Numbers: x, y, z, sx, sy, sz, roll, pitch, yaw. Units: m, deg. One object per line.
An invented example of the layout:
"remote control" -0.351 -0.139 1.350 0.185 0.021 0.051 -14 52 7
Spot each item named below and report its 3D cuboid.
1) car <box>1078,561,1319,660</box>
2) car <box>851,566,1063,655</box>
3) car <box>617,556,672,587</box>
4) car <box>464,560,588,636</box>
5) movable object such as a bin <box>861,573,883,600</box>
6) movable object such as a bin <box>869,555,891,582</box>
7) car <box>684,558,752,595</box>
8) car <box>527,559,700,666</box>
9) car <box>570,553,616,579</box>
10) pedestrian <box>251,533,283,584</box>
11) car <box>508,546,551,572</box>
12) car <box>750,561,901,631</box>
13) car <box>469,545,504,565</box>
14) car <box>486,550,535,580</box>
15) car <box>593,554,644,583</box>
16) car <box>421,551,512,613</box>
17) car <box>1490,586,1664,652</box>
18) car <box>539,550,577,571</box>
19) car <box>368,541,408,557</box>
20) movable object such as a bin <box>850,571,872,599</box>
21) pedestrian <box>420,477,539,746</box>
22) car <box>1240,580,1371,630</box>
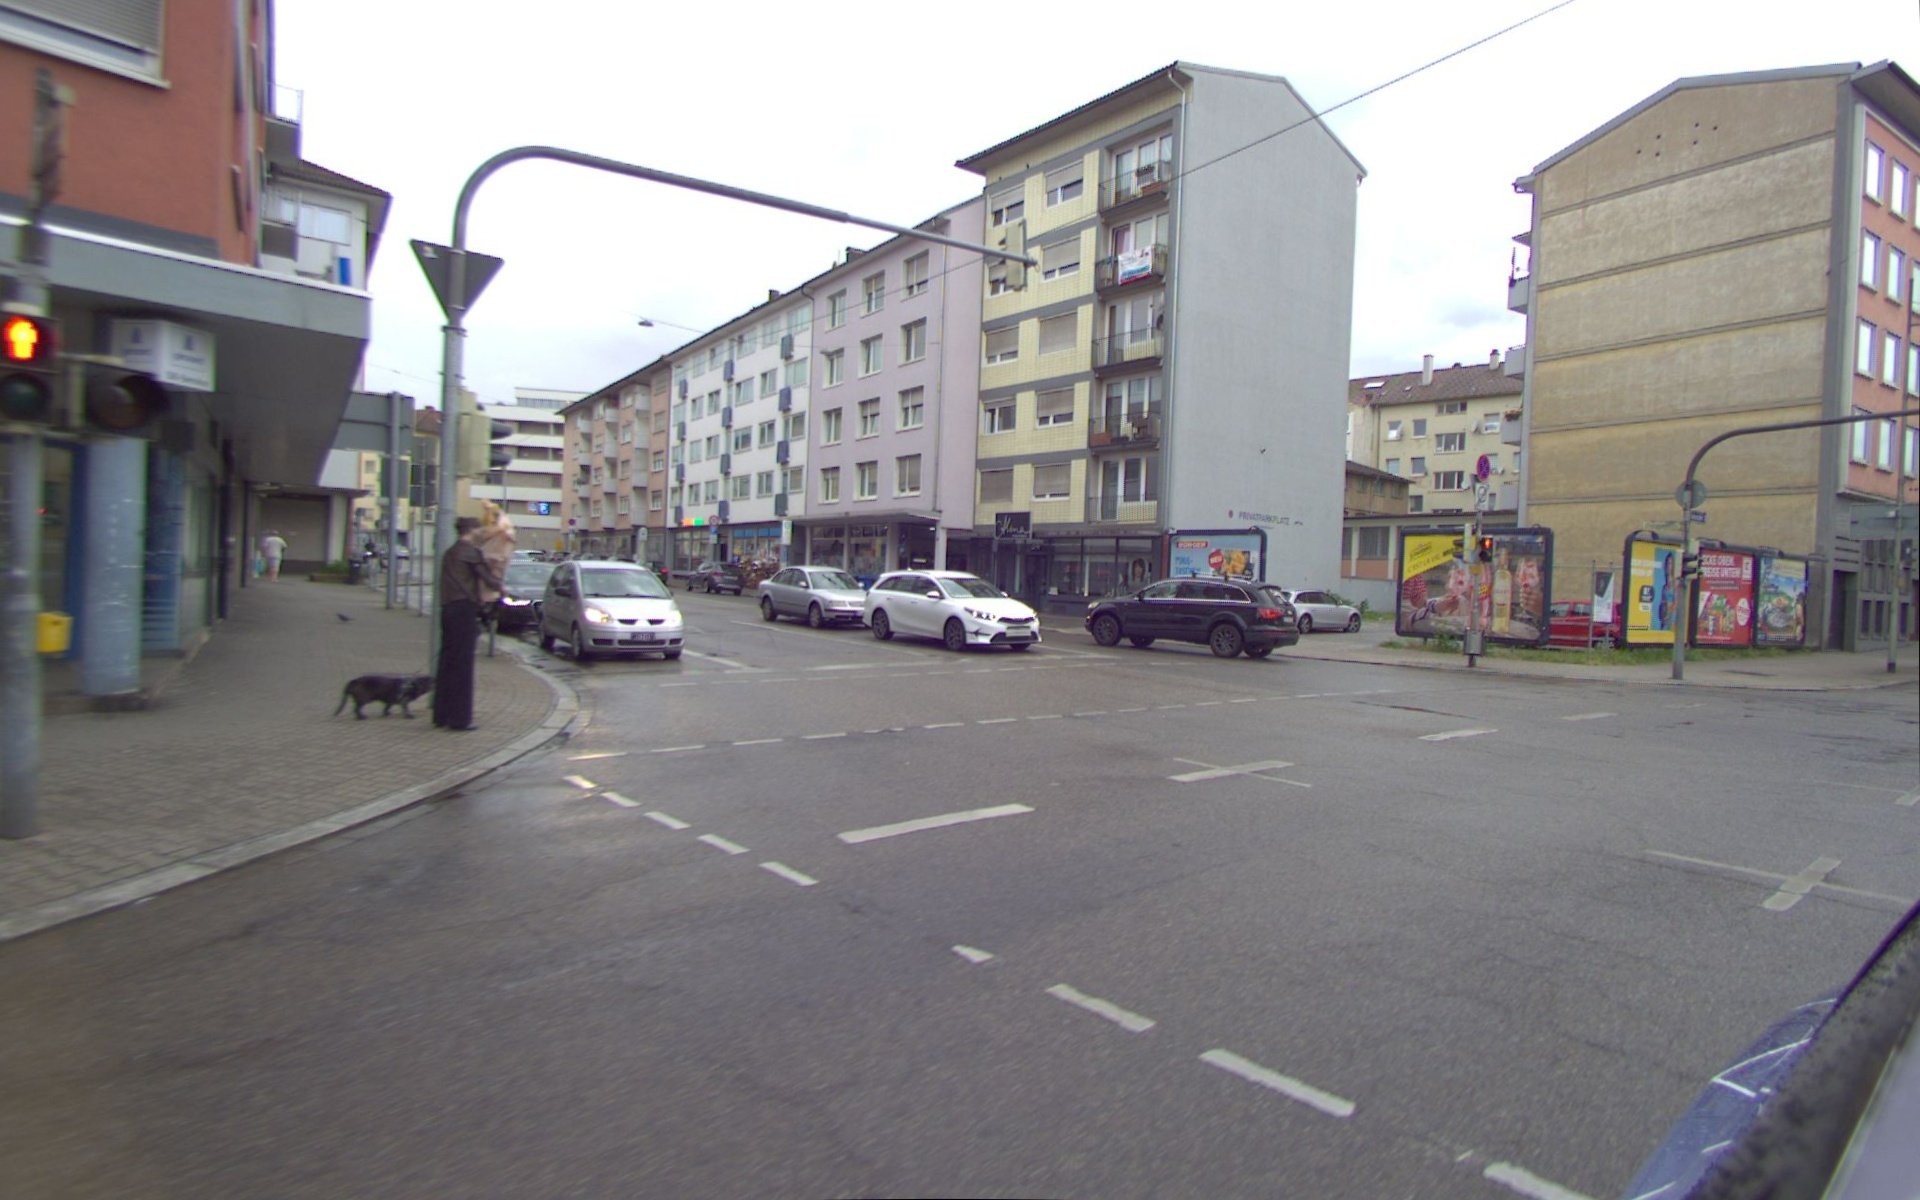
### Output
"car" 5.302 0.188 22.887 4.877 1.893 1.998 4 1 40
"car" -0.201 0.136 20.575 1.884 1.504 4.666 1 2 -37
"car" -18.346 -1.678 58.752 1.952 1.638 4.130 2 2 -34
"car" -9.642 -0.096 22.304 1.636 1.442 4.385 1 2 -35
"movable object such as a bin" -3.866 -0.578 44.437 0.684 1.152 0.641 2 -1 -35
"movable object such as a bin" -3.480 -1.366 44.010 0.684 1.152 0.641 2 -1 -35
"car" -11.801 -1.168 49.104 1.952 1.638 4.131 2 2 -32
"car" -5.879 0.131 16.876 1.670 1.504 3.960 1 2 -35
"car" -24.868 -2.340 68.474 1.953 1.638 4.129 1 2 -34
"pedestrian" -22.769 -1.343 33.254 0.810 1.633 1.014 2 -1 -34
"car" -29.531 -2.822 69.389 1.961 1.504 4.004 2 3 -34
"car" -3.459 -0.147 25.285 1.810 1.504 4.526 1 2 -35
"car" -38.744 -3.693 82.792 1.961 1.504 4.003 2 2 -34
"car" -25.250 -2.007 56.805 1.820 1.504 4.003 2 2 -34
"car" -21.514 -1.996 63.623 1.953 1.638 4.129 1 2 -34
"car" -13.952 -0.541 28.501 1.723 1.561 4.255 1 2 -34
"car" 17.169 0.490 28.245 2.051 1.571 3.660 2 1 -41
"car" -30.836 -3.037 77.585 1.961 1.400 4.005 2 4 -33
"car" -64.551 -5.721 114.253 3.920 1.727 1.911 1 -1 24
"movable object such as a bin" -4.414 -0.658 45.250 0.684 1.201 0.706 2 -1 -35
"pedestrian" -4.179 0.098 8.792 0.755 2.186 0.828 2 -1 -35
"car" 11.277 0.173 32.963 4.248 1.458 1.881 2 1 -35
